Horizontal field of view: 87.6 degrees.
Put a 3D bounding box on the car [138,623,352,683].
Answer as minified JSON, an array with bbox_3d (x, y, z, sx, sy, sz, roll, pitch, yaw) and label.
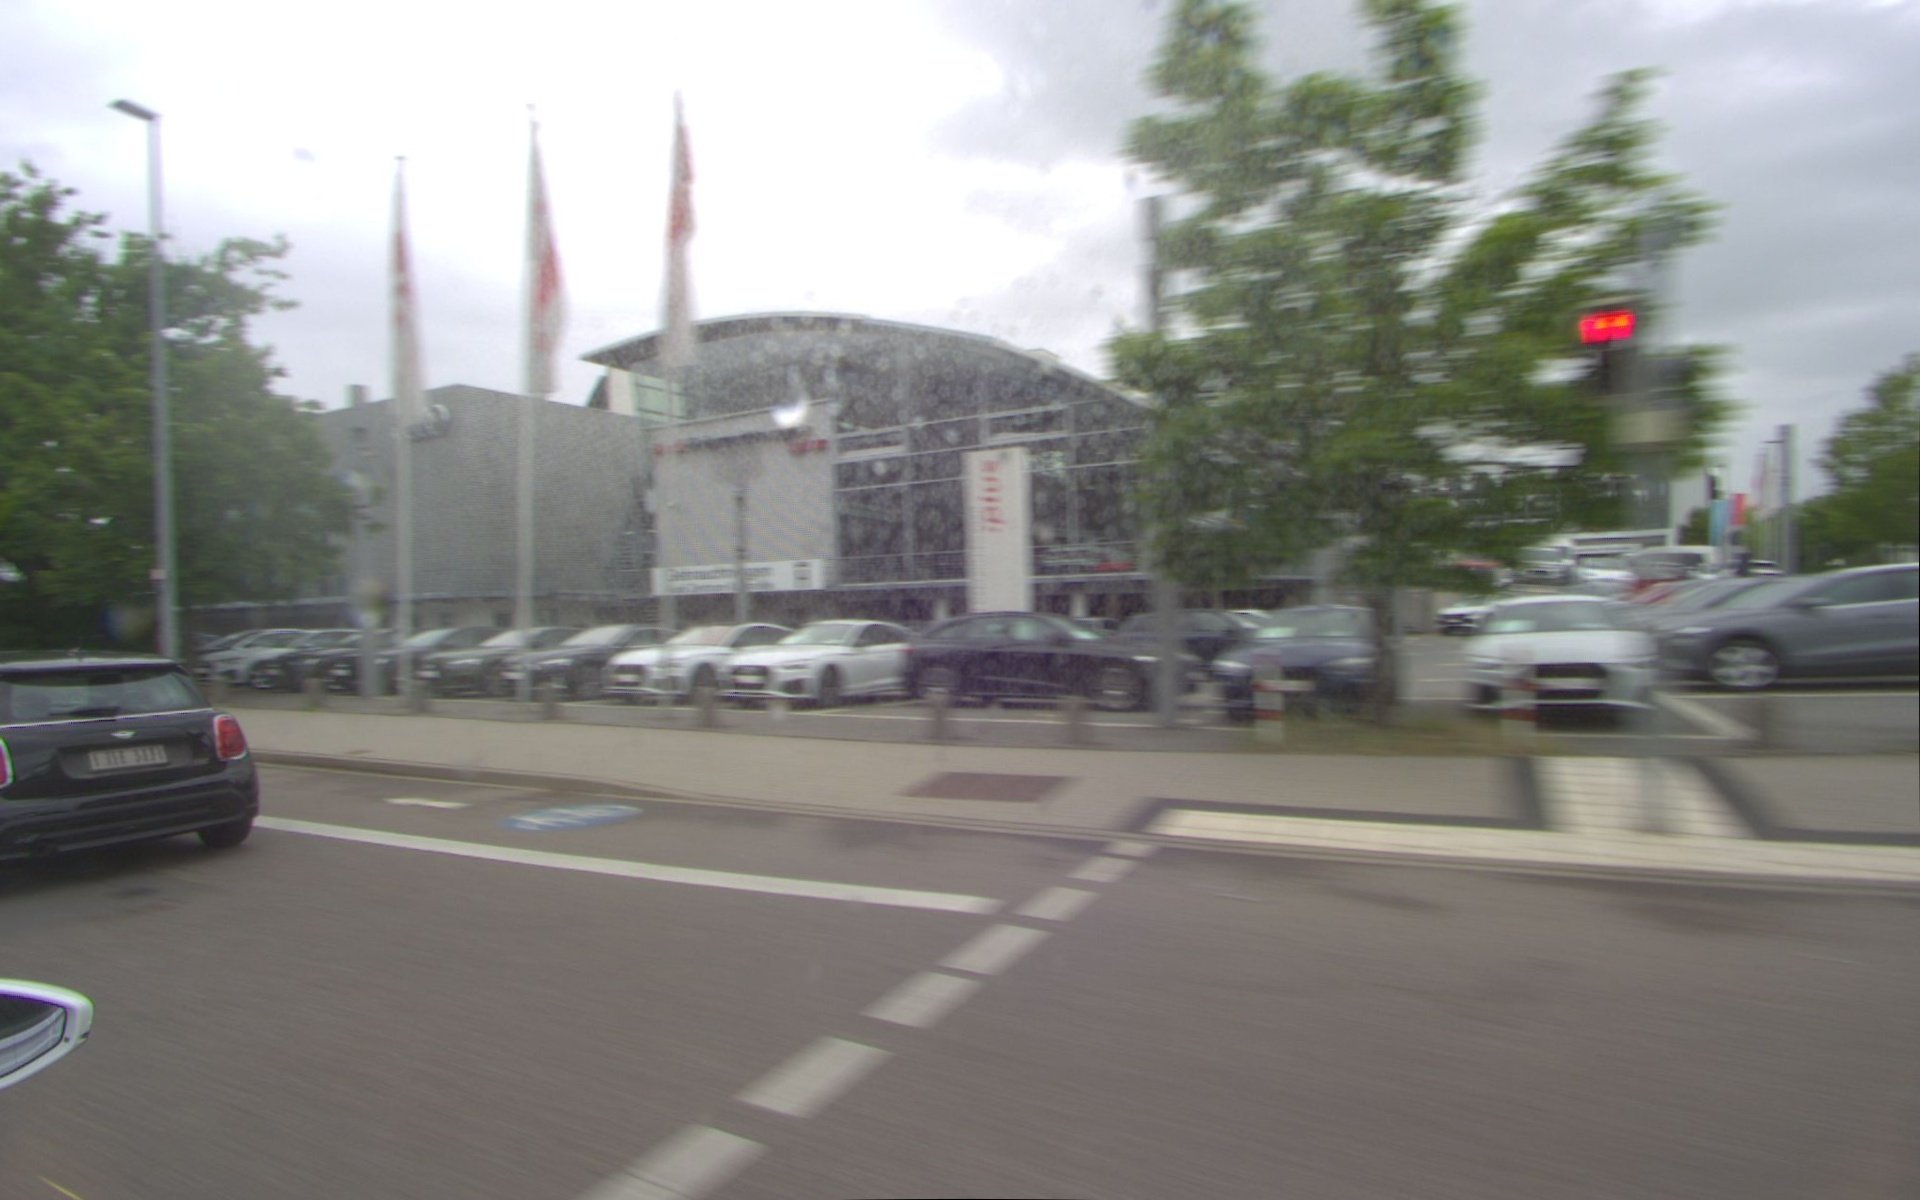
[{"bbox_3d":[-18.621,1.340,26.281,1.828,1.439,4.200,-1,-2,29],"label":"car"}]

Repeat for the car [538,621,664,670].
[{"bbox_3d":[-12.802,1.583,35.951,1.788,1.565,4.097,1,0,29],"label":"car"}]

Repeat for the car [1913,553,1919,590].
[{"bbox_3d":[85.344,-2.451,84.985,6.049,3.158,2.122,1,1,33],"label":"car"}]

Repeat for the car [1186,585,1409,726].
[{"bbox_3d":[4.619,0.722,13.226,2.038,1.504,4.500,-3,-3,28],"label":"car"}]

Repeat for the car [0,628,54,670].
[{"bbox_3d":[-37.052,1.787,37.489,1.947,1.504,4.180,1,-4,30],"label":"car"}]

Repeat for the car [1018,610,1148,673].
[{"bbox_3d":[3.363,1.102,26.687,1.900,1.505,4.245,1,-2,30],"label":"car"}]

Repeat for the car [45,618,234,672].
[{"bbox_3d":[-25.593,1.447,31.379,1.842,1.410,4.124,1,-5,29],"label":"car"}]

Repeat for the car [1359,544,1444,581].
[{"bbox_3d":[23.458,-1.955,53.265,3.941,1.862,1.751,1,1,31],"label":"car"}]

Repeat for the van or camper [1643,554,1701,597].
[{"bbox_3d":[35.866,-1.190,50.529,1.970,2.040,3.982,1,1,30],"label":"van or camper"}]

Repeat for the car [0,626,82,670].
[{"bbox_3d":[-34.855,1.698,36.247,1.929,1.504,4.196,1,-4,29],"label":"car"}]

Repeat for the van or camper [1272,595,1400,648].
[{"bbox_3d":[13.215,0.720,35.219,3.939,1.734,1.838,1,1,30],"label":"van or camper"}]

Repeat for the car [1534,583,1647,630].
[{"bbox_3d":[24.102,0.243,38.259,4.384,1.679,1.912,0,-2,-32],"label":"car"}]

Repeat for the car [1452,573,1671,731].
[{"bbox_3d":[7.044,0.574,11.874,1.847,1.505,4.210,-2,-2,30],"label":"car"}]

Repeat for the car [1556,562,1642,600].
[{"bbox_3d":[35.459,-1.056,55.692,3.941,2.041,1.990,1,1,31],"label":"car"}]

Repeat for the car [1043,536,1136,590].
[{"bbox_3d":[4.431,-1.187,33.694,1.797,1.684,3.983,1,0,28],"label":"car"}]

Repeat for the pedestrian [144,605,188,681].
[{"bbox_3d":[-20.362,1.098,25.692,0.708,1.895,0.670,-1,-1,29],"label":"pedestrian"}]

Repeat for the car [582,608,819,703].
[{"bbox_3d":[-4.517,0.970,18.013,1.849,1.505,4.027,-1,-2,30],"label":"car"}]

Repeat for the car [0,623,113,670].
[{"bbox_3d":[-32.589,1.619,35.042,1.791,1.504,4.064,1,-4,29],"label":"car"}]

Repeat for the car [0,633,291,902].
[{"bbox_3d":[-6.689,0.996,7.059,3.587,1.435,1.783,-1,1,28],"label":"car"}]

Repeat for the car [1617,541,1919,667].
[{"bbox_3d":[15.245,0.108,18.504,4.965,2.039,2.256,-3,-1,30],"label":"car"}]

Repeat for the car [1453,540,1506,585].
[{"bbox_3d":[23.550,-1.657,45.326,1.970,1.873,3.982,1,1,30],"label":"car"}]

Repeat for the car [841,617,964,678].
[{"bbox_3d":[-1.611,1.335,29.296,1.701,1.563,3.982,1,0,30],"label":"car"}]

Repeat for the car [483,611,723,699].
[{"bbox_3d":[-6.772,1.037,19.452,1.844,1.505,4.214,-1,-3,30],"label":"car"}]

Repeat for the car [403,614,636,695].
[{"bbox_3d":[-9.030,1.112,20.898,1.880,1.505,4.174,-1,-2,29],"label":"car"}]

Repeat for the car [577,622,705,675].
[{"bbox_3d":[-10.866,1.608,34.395,1.788,1.565,4.097,1,0,29],"label":"car"}]

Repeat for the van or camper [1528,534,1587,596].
[{"bbox_3d":[31.640,-1.793,53.184,2.505,3.067,4.821,1,1,30],"label":"van or camper"}]

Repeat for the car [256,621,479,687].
[{"bbox_3d":[-13.851,1.252,23.660,1.874,1.408,4.151,-1,-3,30],"label":"car"}]

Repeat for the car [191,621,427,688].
[{"bbox_3d":[-16.109,1.308,25.057,1.820,1.490,4.645,0,-2,29],"label":"car"}]

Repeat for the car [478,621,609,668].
[{"bbox_3d":[-15.289,1.581,36.975,1.714,1.506,4.333,1,0,29],"label":"car"}]

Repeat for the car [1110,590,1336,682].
[{"bbox_3d":[6.124,0.818,23.464,4.748,1.965,1.989,-1,0,31],"label":"car"}]

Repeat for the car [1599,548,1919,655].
[{"bbox_3d":[16.388,0.093,20.896,4.887,1.900,2.046,-3,-1,28],"label":"car"}]

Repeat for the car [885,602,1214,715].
[{"bbox_3d":[1.306,0.877,15.354,4.686,1.504,1.885,-2,-3,31],"label":"car"}]

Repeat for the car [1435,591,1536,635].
[{"bbox_3d":[21.145,0.529,40.213,4.392,1.679,1.909,0,-2,-37],"label":"car"}]

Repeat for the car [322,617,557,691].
[{"bbox_3d":[-11.459,1.178,22.361,1.866,1.489,4.362,-1,-2,29],"label":"car"}]

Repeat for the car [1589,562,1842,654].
[{"bbox_3d":[18.992,0.253,25.513,4.836,2.039,1.991,-3,-1,29],"label":"car"}]

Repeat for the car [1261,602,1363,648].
[{"bbox_3d":[15.254,1.030,43.424,3.937,1.862,1.752,1,1,28],"label":"car"}]

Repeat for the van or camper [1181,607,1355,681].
[{"bbox_3d":[7.912,1.061,25.785,3.939,1.700,1.991,1,1,30],"label":"van or camper"}]

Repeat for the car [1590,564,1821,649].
[{"bbox_3d":[20.457,0.228,27.786,4.836,2.039,1.991,-3,-1,29],"label":"car"}]

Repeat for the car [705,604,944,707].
[{"bbox_3d":[-2.133,0.902,16.943,1.825,1.505,4.180,-1,-3,30],"label":"car"}]

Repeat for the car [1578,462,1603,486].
[{"bbox_3d":[66.788,-13.295,106.149,1.970,1.907,3.982,-1,-1,29],"label":"car"}]

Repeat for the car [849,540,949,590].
[{"bbox_3d":[-2.154,-1.220,36.485,1.797,1.684,3.983,1,0,28],"label":"car"}]

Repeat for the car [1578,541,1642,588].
[{"bbox_3d":[27.508,-1.462,42.488,1.970,1.847,3.982,1,1,30],"label":"car"}]

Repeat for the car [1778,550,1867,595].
[{"bbox_3d":[33.630,-1.026,39.175,1.971,1.639,3.980,1,0,31],"label":"car"}]

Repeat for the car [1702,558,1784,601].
[{"bbox_3d":[31.246,-0.777,40.066,1.970,1.639,3.982,1,0,30],"label":"car"}]

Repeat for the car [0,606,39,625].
[{"bbox_3d":[-75.725,1.212,79.033,1.703,1.455,4.195,1,0,28],"label":"car"}]

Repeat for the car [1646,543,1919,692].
[{"bbox_3d":[12.416,0.235,13.733,4.717,1.886,1.991,-3,-1,29],"label":"car"}]

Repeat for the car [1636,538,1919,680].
[{"bbox_3d":[13.714,0.160,15.938,4.647,2.039,1.991,-3,-1,30],"label":"car"}]

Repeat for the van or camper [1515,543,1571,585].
[{"bbox_3d":[25.425,-1.515,43.759,1.969,1.673,3.982,1,0,29],"label":"van or camper"}]

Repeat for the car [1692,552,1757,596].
[{"bbox_3d":[37.733,-1.235,49.499,1.970,2.040,3.982,1,1,30],"label":"car"}]

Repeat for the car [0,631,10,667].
[{"bbox_3d":[-41.426,1.874,40.329,1.905,1.474,4.173,1,-4,31],"label":"car"}]

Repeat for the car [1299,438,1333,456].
[{"bbox_3d":[47.271,-20.326,133.028,1.968,1.690,3.985,-1,1,-24],"label":"car"}]

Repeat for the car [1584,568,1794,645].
[{"bbox_3d":[21.814,0.234,30.267,4.836,2.039,1.991,-3,-1,29],"label":"car"}]
